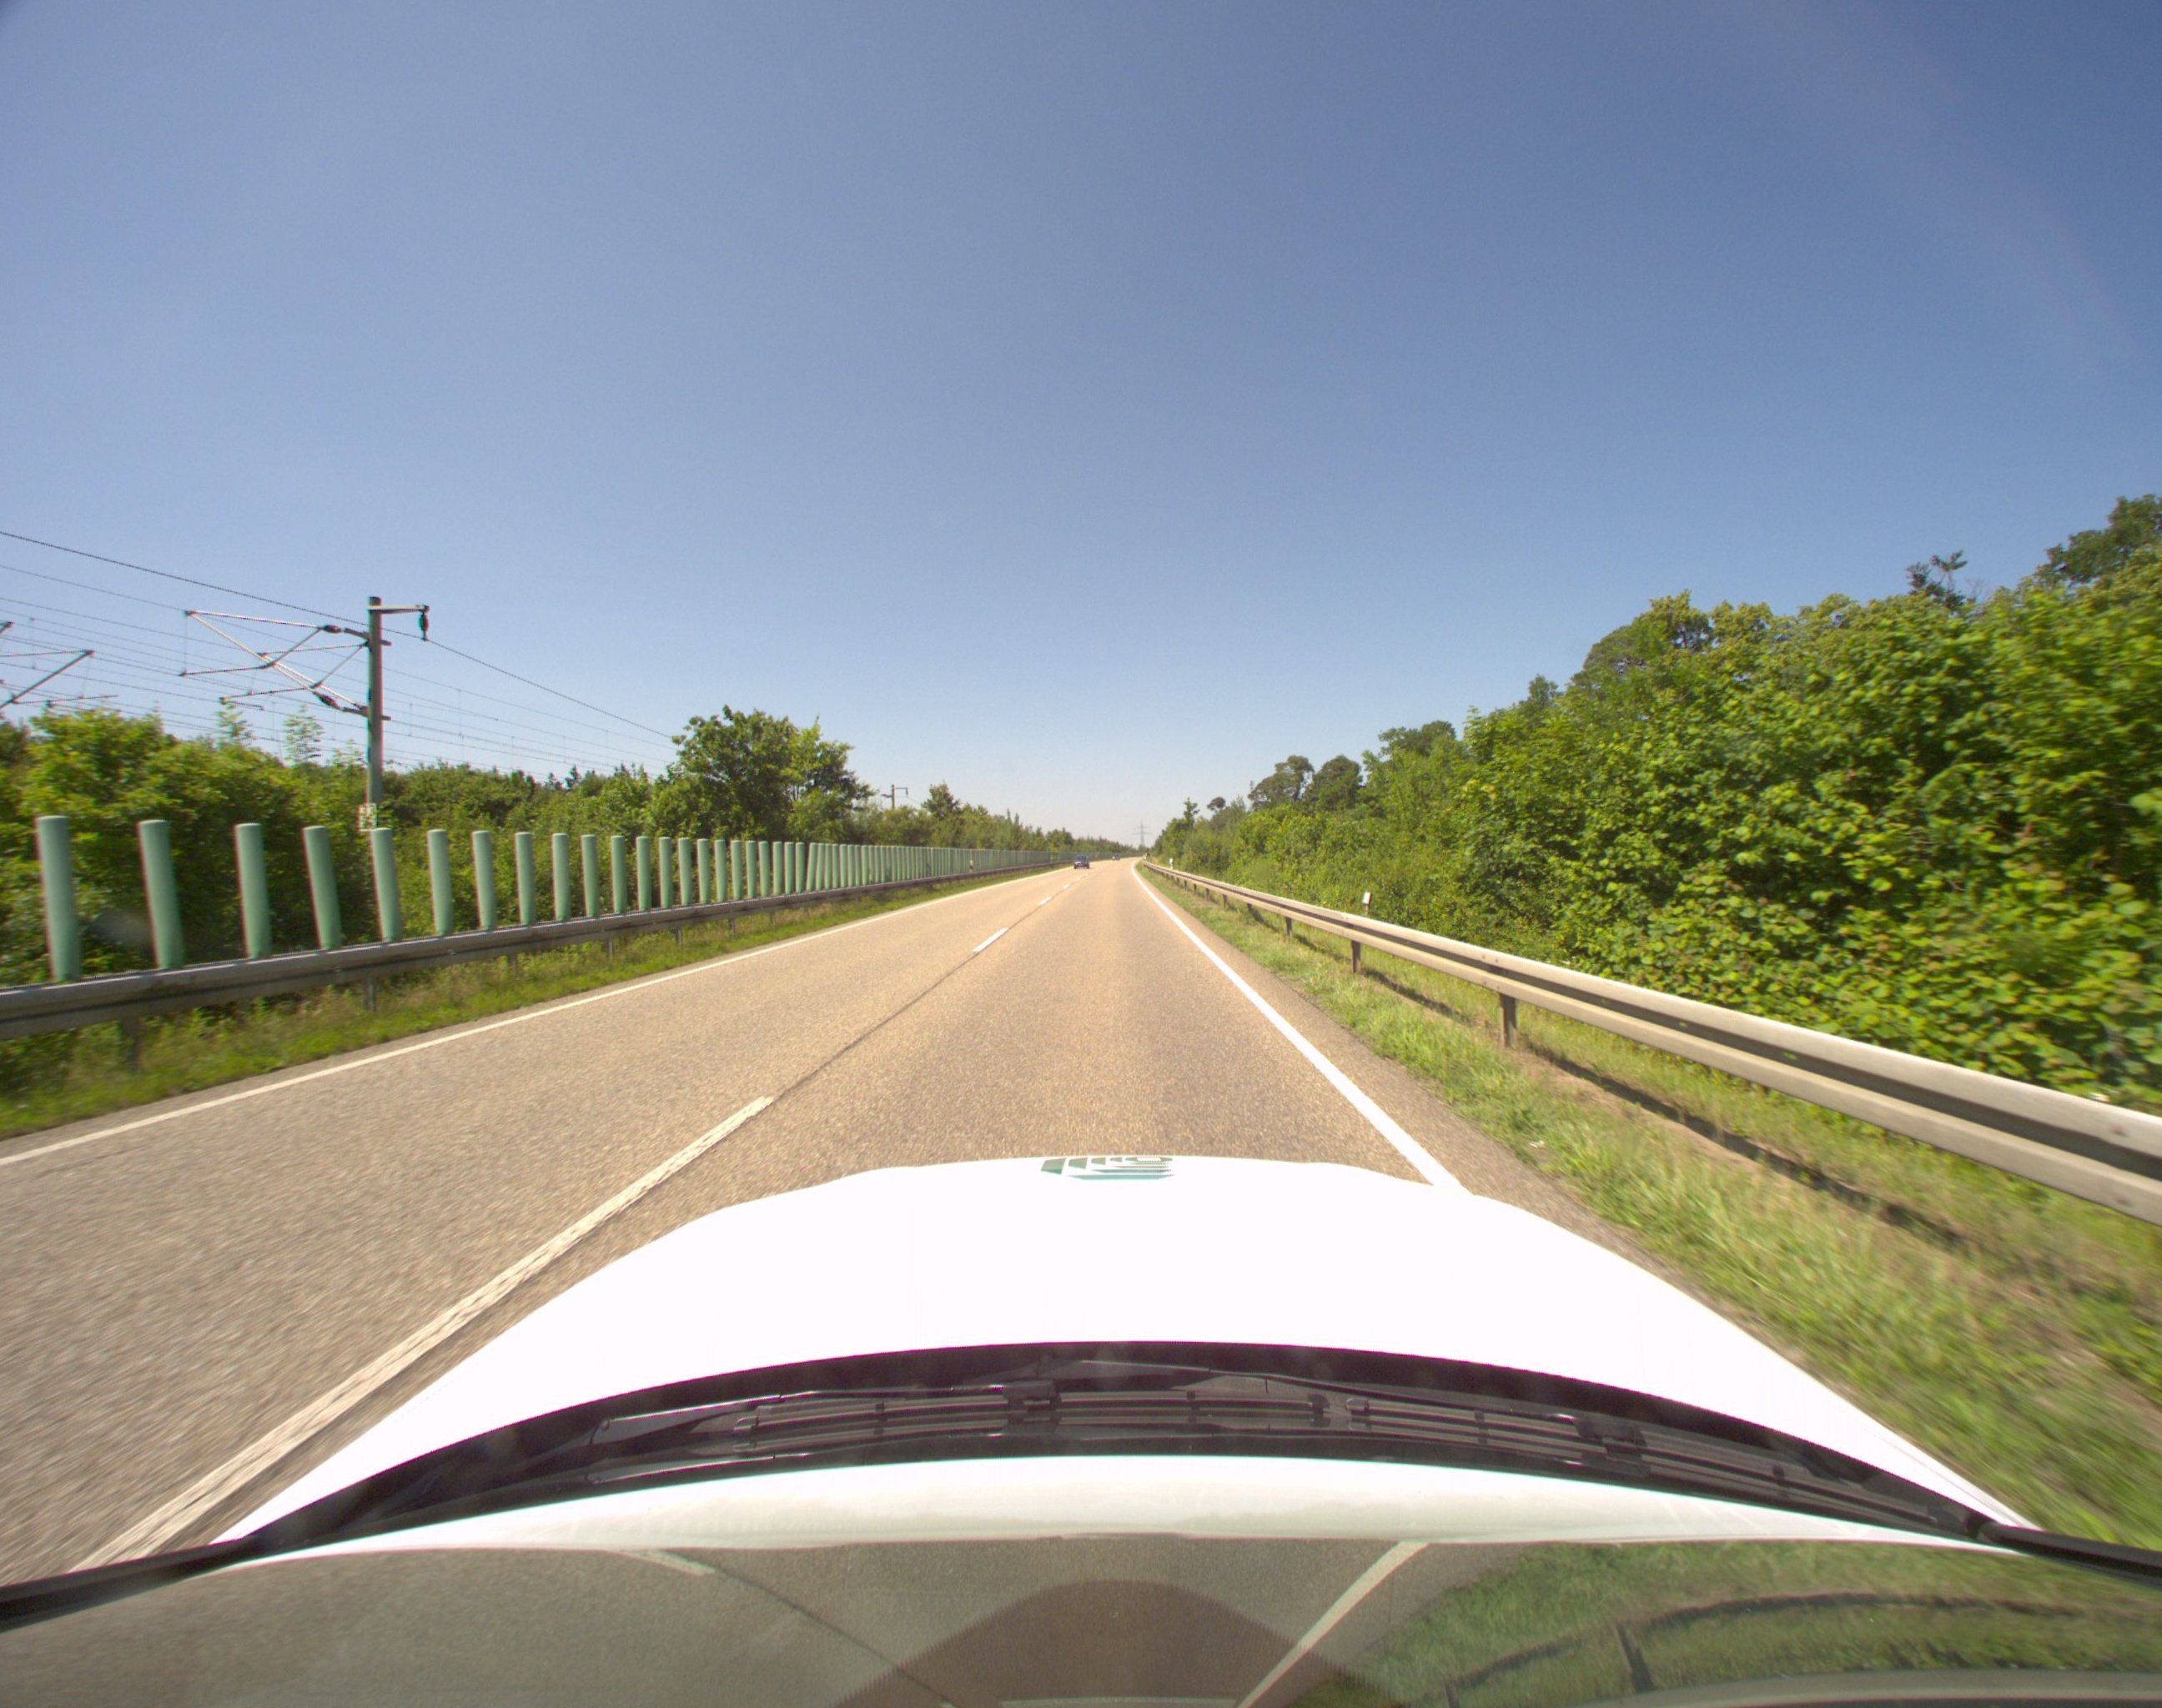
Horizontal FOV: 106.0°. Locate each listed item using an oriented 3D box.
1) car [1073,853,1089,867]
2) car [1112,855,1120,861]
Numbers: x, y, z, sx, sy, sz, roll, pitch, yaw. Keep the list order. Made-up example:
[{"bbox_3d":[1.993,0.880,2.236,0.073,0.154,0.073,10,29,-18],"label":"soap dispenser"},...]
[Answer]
[{"bbox_3d":[0.060,0.638,90.263,1.642,1.479,3.678,-1,0,1],"label":"car"},{"bbox_3d":[8.827,0.905,204.280,1.779,1.371,3.901,-1,1,4],"label":"car"}]
